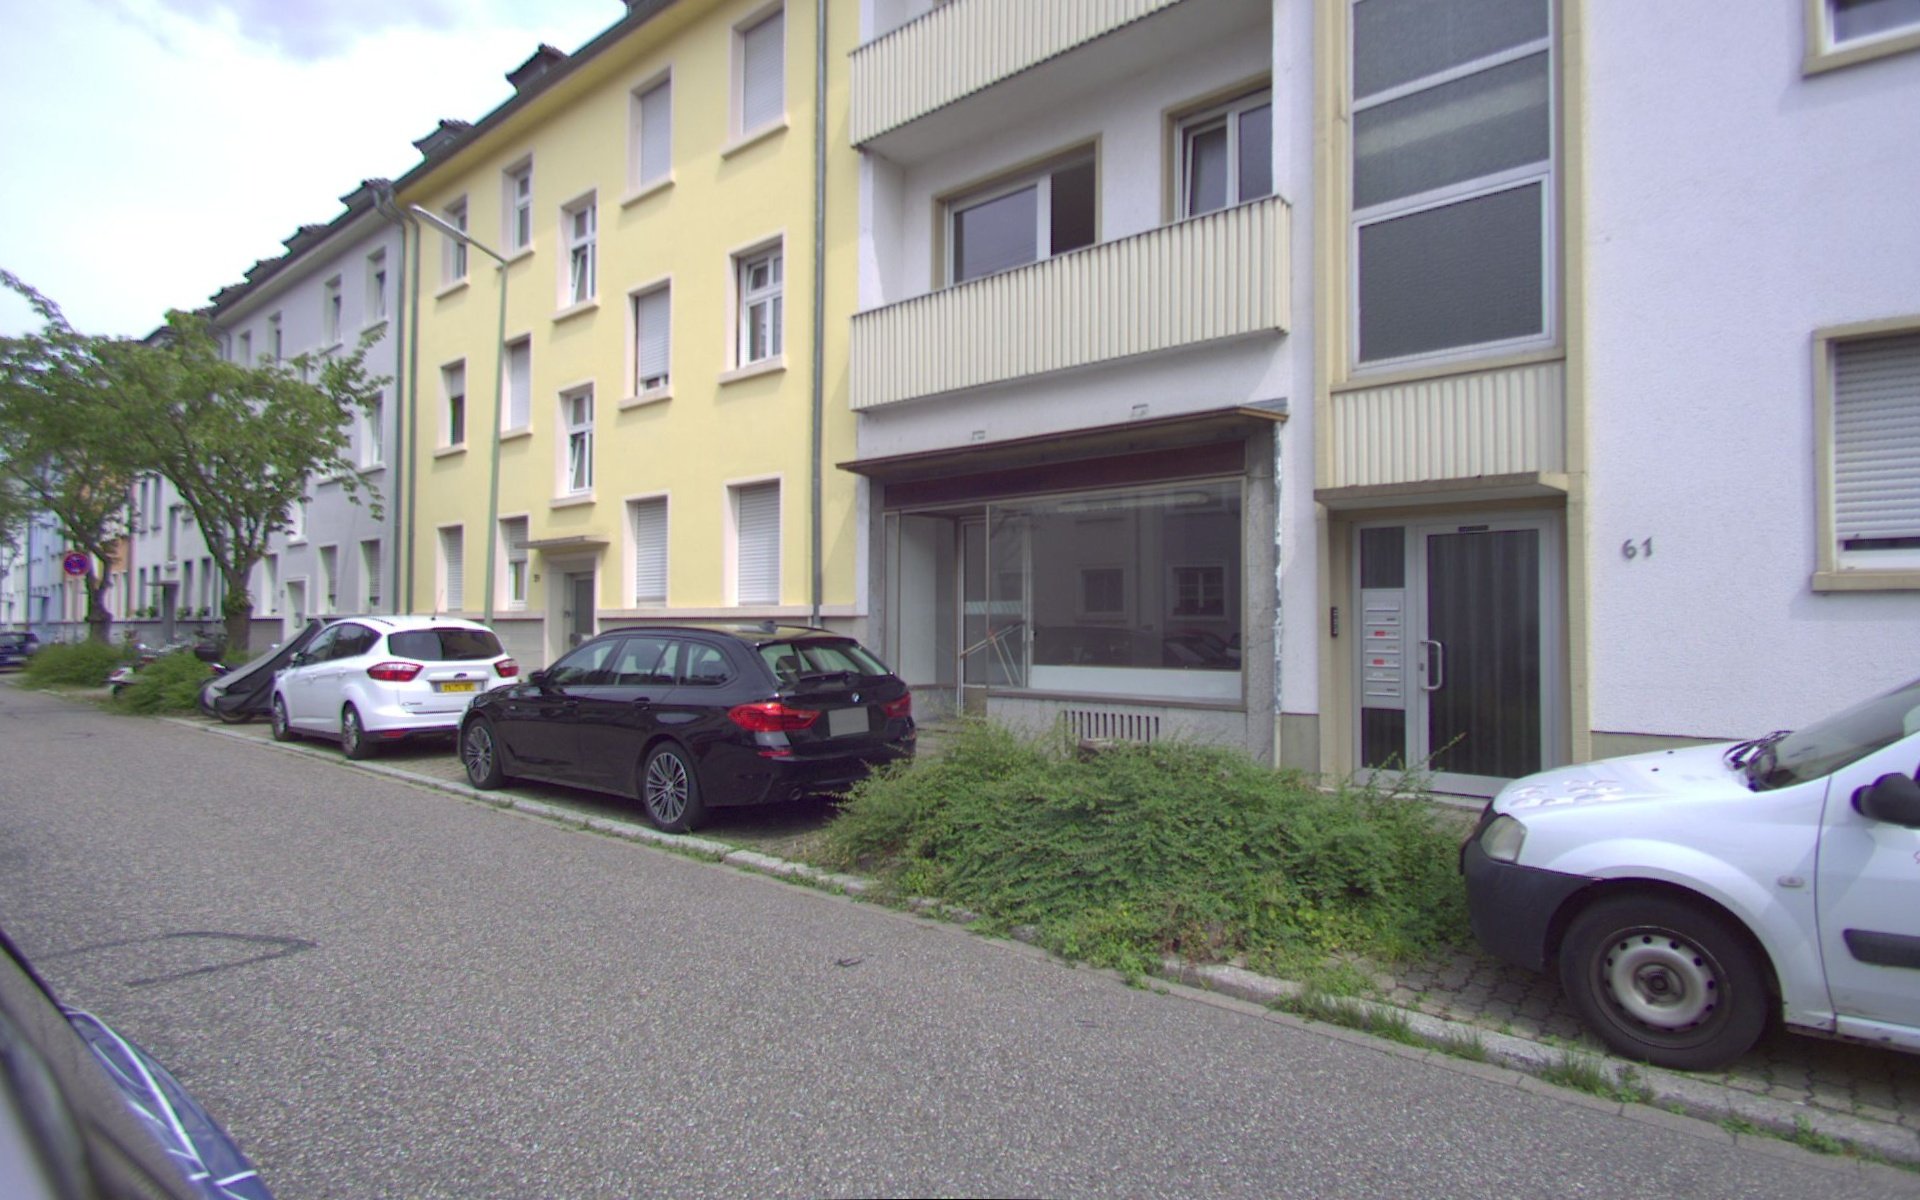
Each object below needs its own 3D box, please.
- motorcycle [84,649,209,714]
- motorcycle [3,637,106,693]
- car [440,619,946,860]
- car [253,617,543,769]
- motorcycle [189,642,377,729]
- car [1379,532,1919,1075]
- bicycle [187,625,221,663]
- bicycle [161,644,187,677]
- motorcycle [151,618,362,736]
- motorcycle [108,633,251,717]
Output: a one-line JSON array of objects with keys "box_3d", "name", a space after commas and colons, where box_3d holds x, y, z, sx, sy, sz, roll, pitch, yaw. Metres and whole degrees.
[{"box_3d": [-16.010, 1.589, 19.982, 0.591, 1.201, 1.903, 0, -3, 14], "name": "motorcycle"}, {"box_3d": [-24.131, 1.721, 27.021, 0.782, 1.418, 2.016, 1, -3, 3], "name": "motorcycle"}, {"box_3d": [-2.490, 0.912, 8.600, 4.809, 1.503, 1.772, -1, -1, 41], "name": "car"}, {"box_3d": [-7.063, 1.030, 12.548, 4.253, 1.568, 1.739, -1, -3, 40], "name": "car"}, {"box_3d": [-10.870, 1.380, 16.375, 2.414, 1.321, 0.645, 3, -4, -30], "name": "motorcycle"}, {"box_3d": [3.925, 0.636, 3.295, 4.380, 1.593, 1.898, -1, -4, 41], "name": "car"}, {"box_3d": [-20.868, 1.208, 27.925, 1.434, 1.014, 0.416, -2, -4, 42], "name": "bicycle"}, {"box_3d": [-23.682, 1.809, 30.490, 1.434, 0.974, 0.306, -2, -4, 42], "name": "bicycle"}, {"box_3d": [-10.424, 1.125, 15.078, 2.437, 1.689, 0.939, 0, -2, -3], "name": "motorcycle"}, {"box_3d": [-14.886, 1.421, 19.409, 0.591, 1.493, 2.229, 0, -3, 14], "name": "motorcycle"}]
